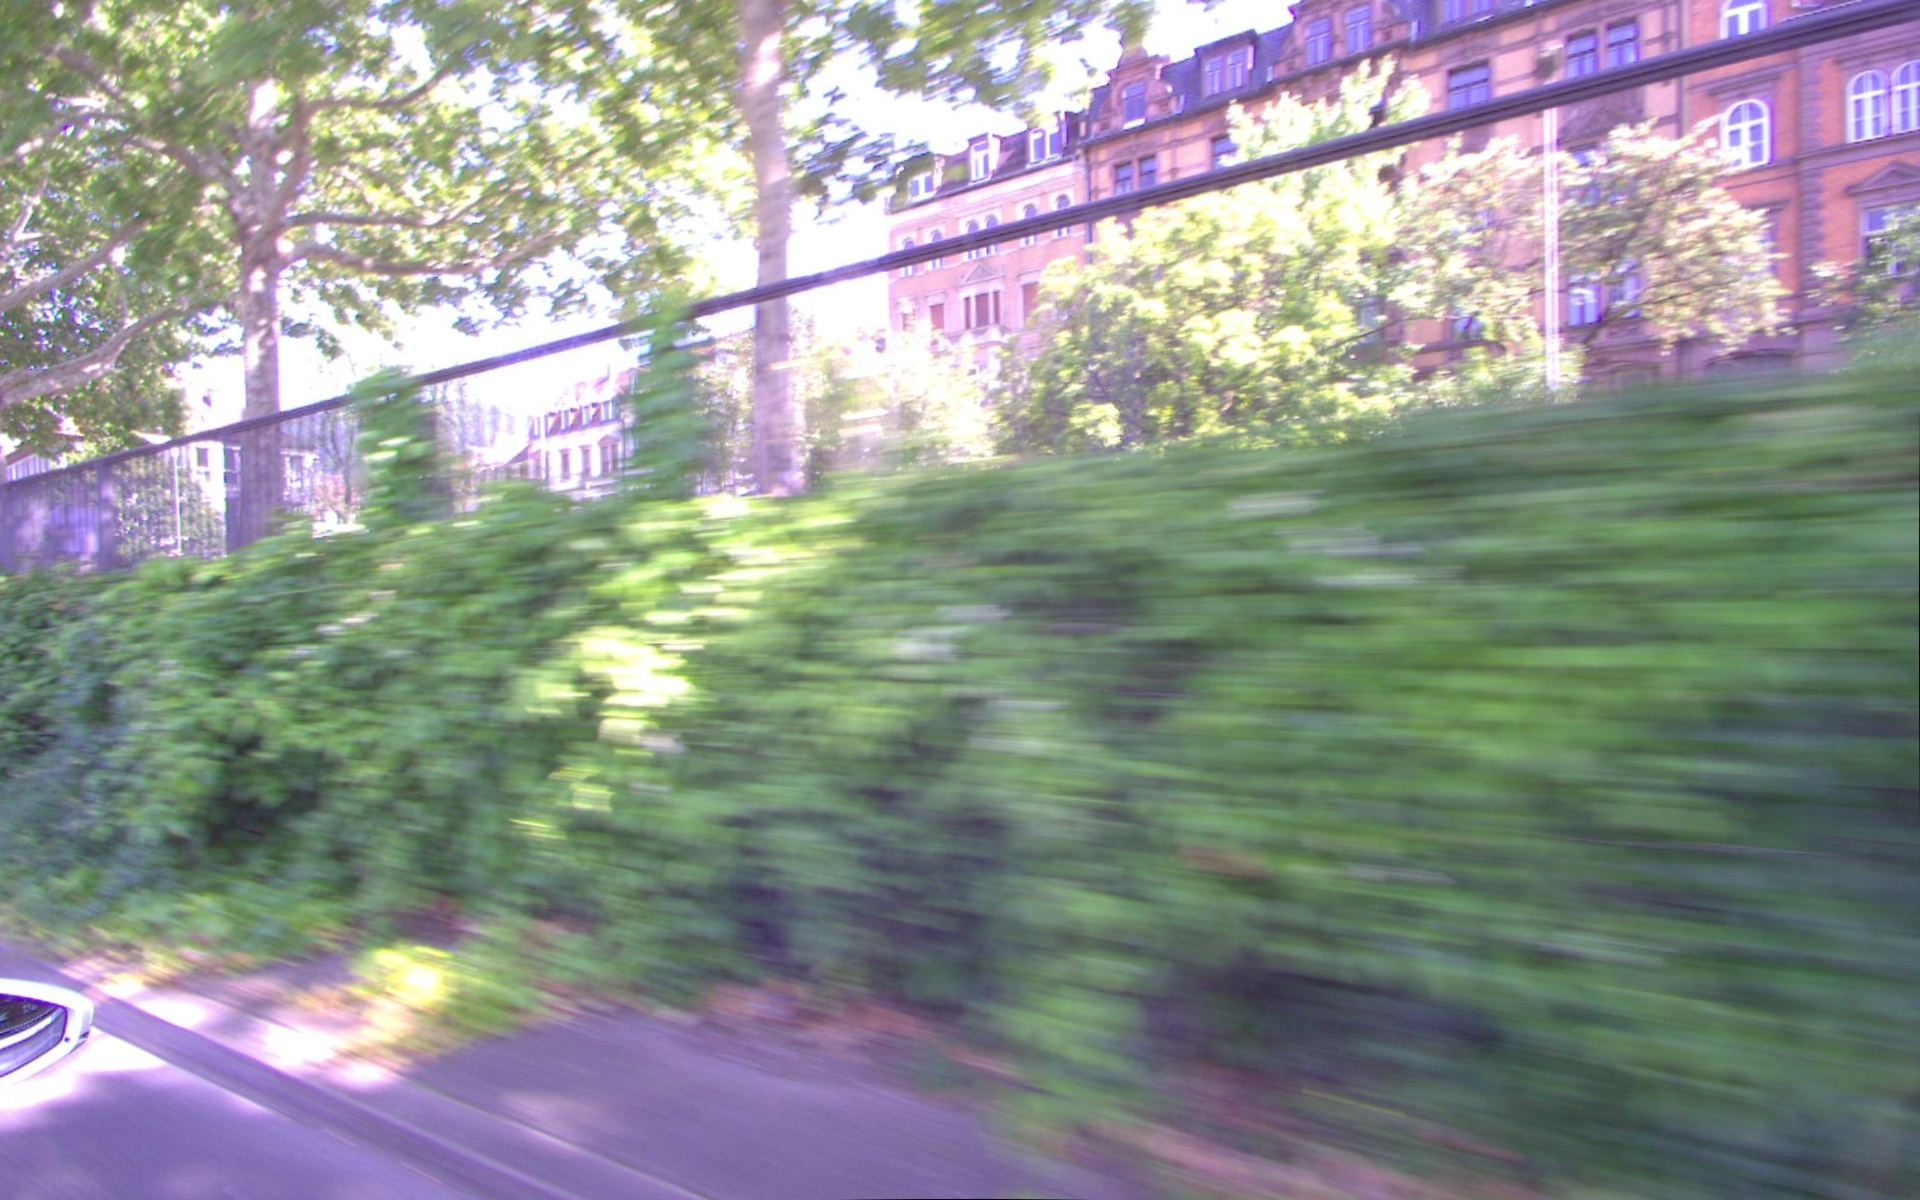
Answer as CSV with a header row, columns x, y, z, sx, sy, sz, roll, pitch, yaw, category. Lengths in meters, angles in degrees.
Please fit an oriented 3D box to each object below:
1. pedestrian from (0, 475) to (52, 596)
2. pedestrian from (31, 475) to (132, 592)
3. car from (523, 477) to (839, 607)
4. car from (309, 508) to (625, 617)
x,y,z,sx,sy,sz,roll,pitch,yaw,category
-11.344,-0.740,11.734,0.802,1.384,0.752,-1,3,29,pedestrian
-10.952,-0.809,12.490,0.782,1.384,0.642,-1,3,29,pedestrian
-3.104,-0.648,11.958,1.646,1.252,3.724,-1,2,23,car
-6.462,-0.512,13.483,1.492,1.252,3.514,-1,2,32,car
